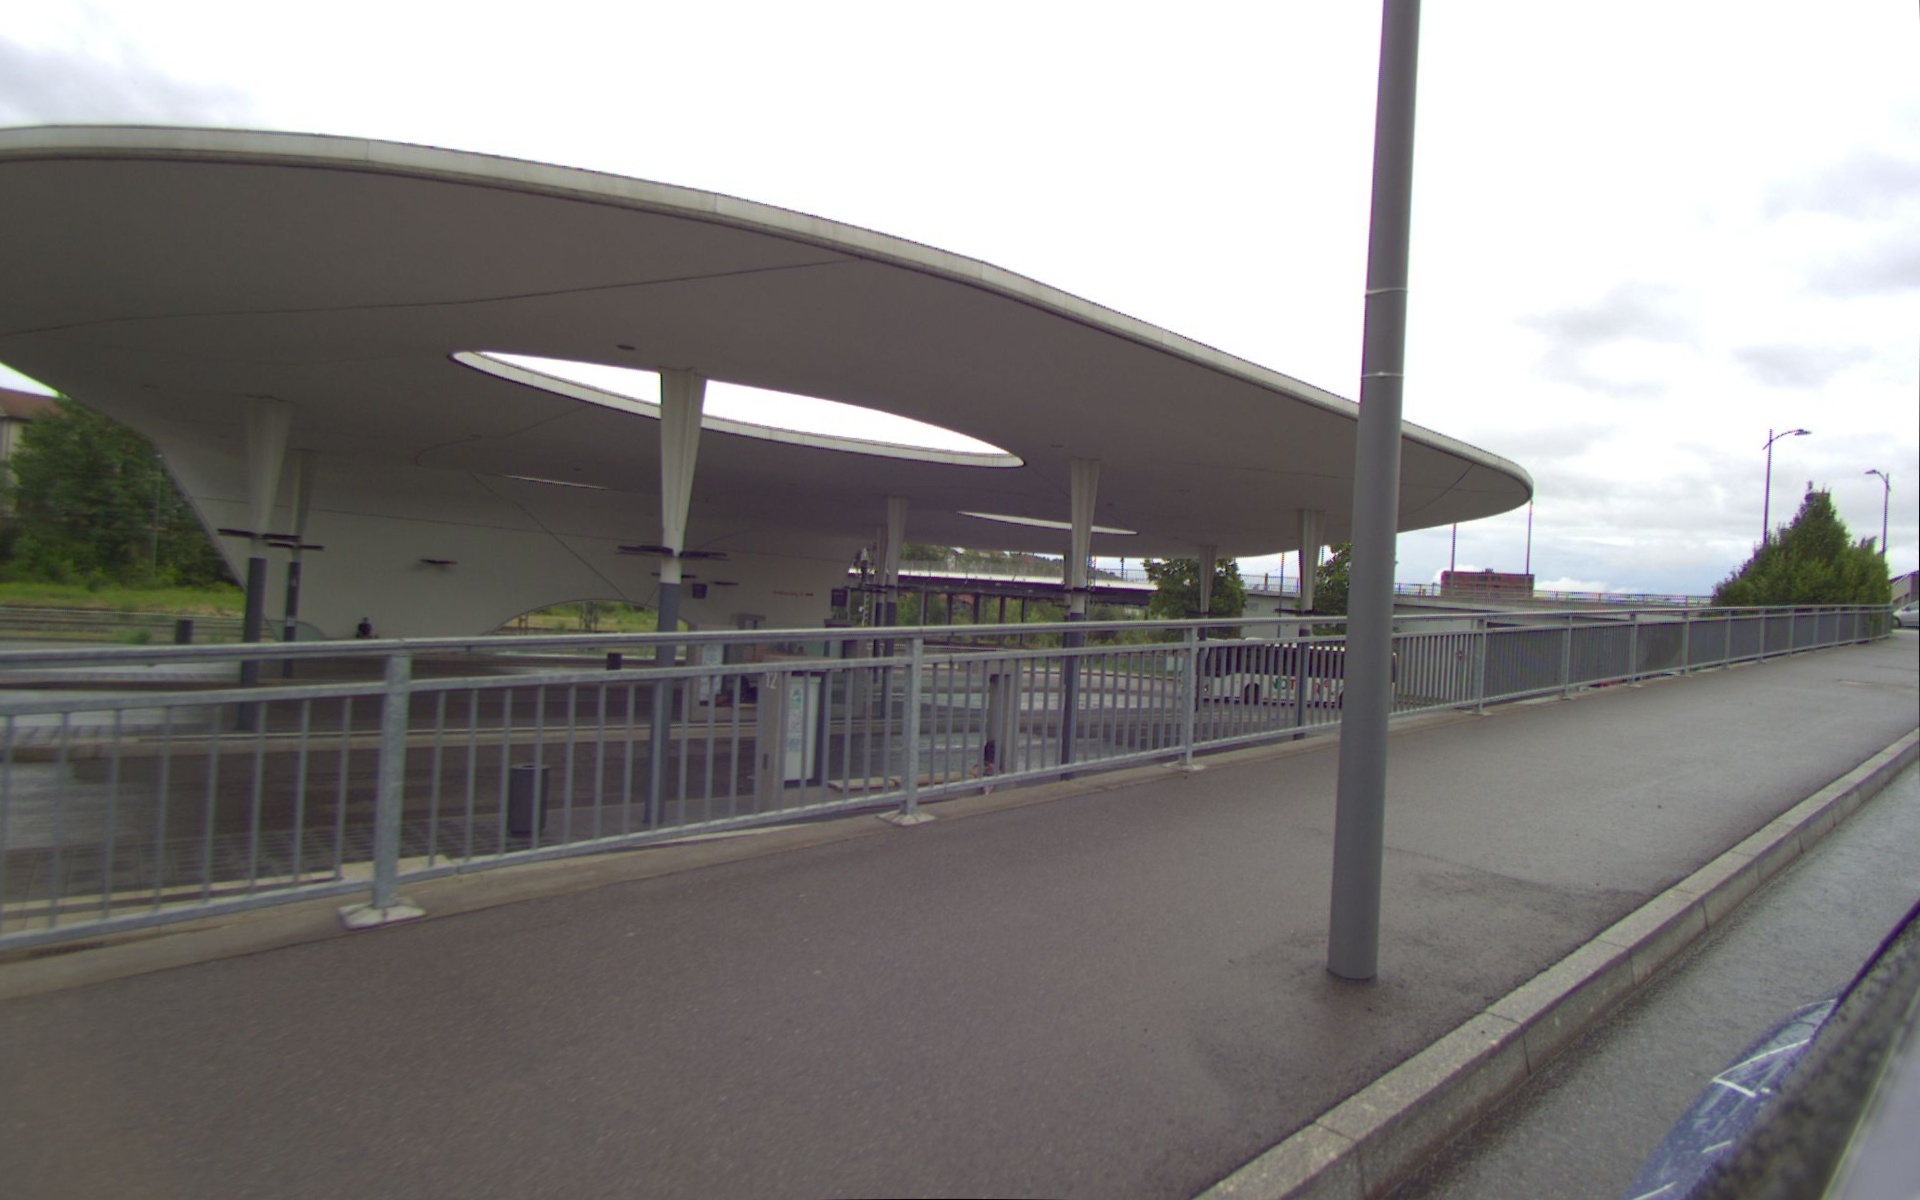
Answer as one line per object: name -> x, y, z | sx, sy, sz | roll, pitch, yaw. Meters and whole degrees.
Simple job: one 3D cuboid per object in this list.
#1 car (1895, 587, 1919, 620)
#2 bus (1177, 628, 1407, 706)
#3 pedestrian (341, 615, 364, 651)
car -> 49.550, 0.246, 50.714 | 1.616, 1.628, 3.717 | 1, 2, -9
bus -> 16.926, 3.271, 51.306 | 11.886, 3.298, 2.803 | -1, 0, -20
pedestrian -> -23.368, 1.253, 38.954 | 0.698, 1.341, 0.801 | -1, 0, -35
